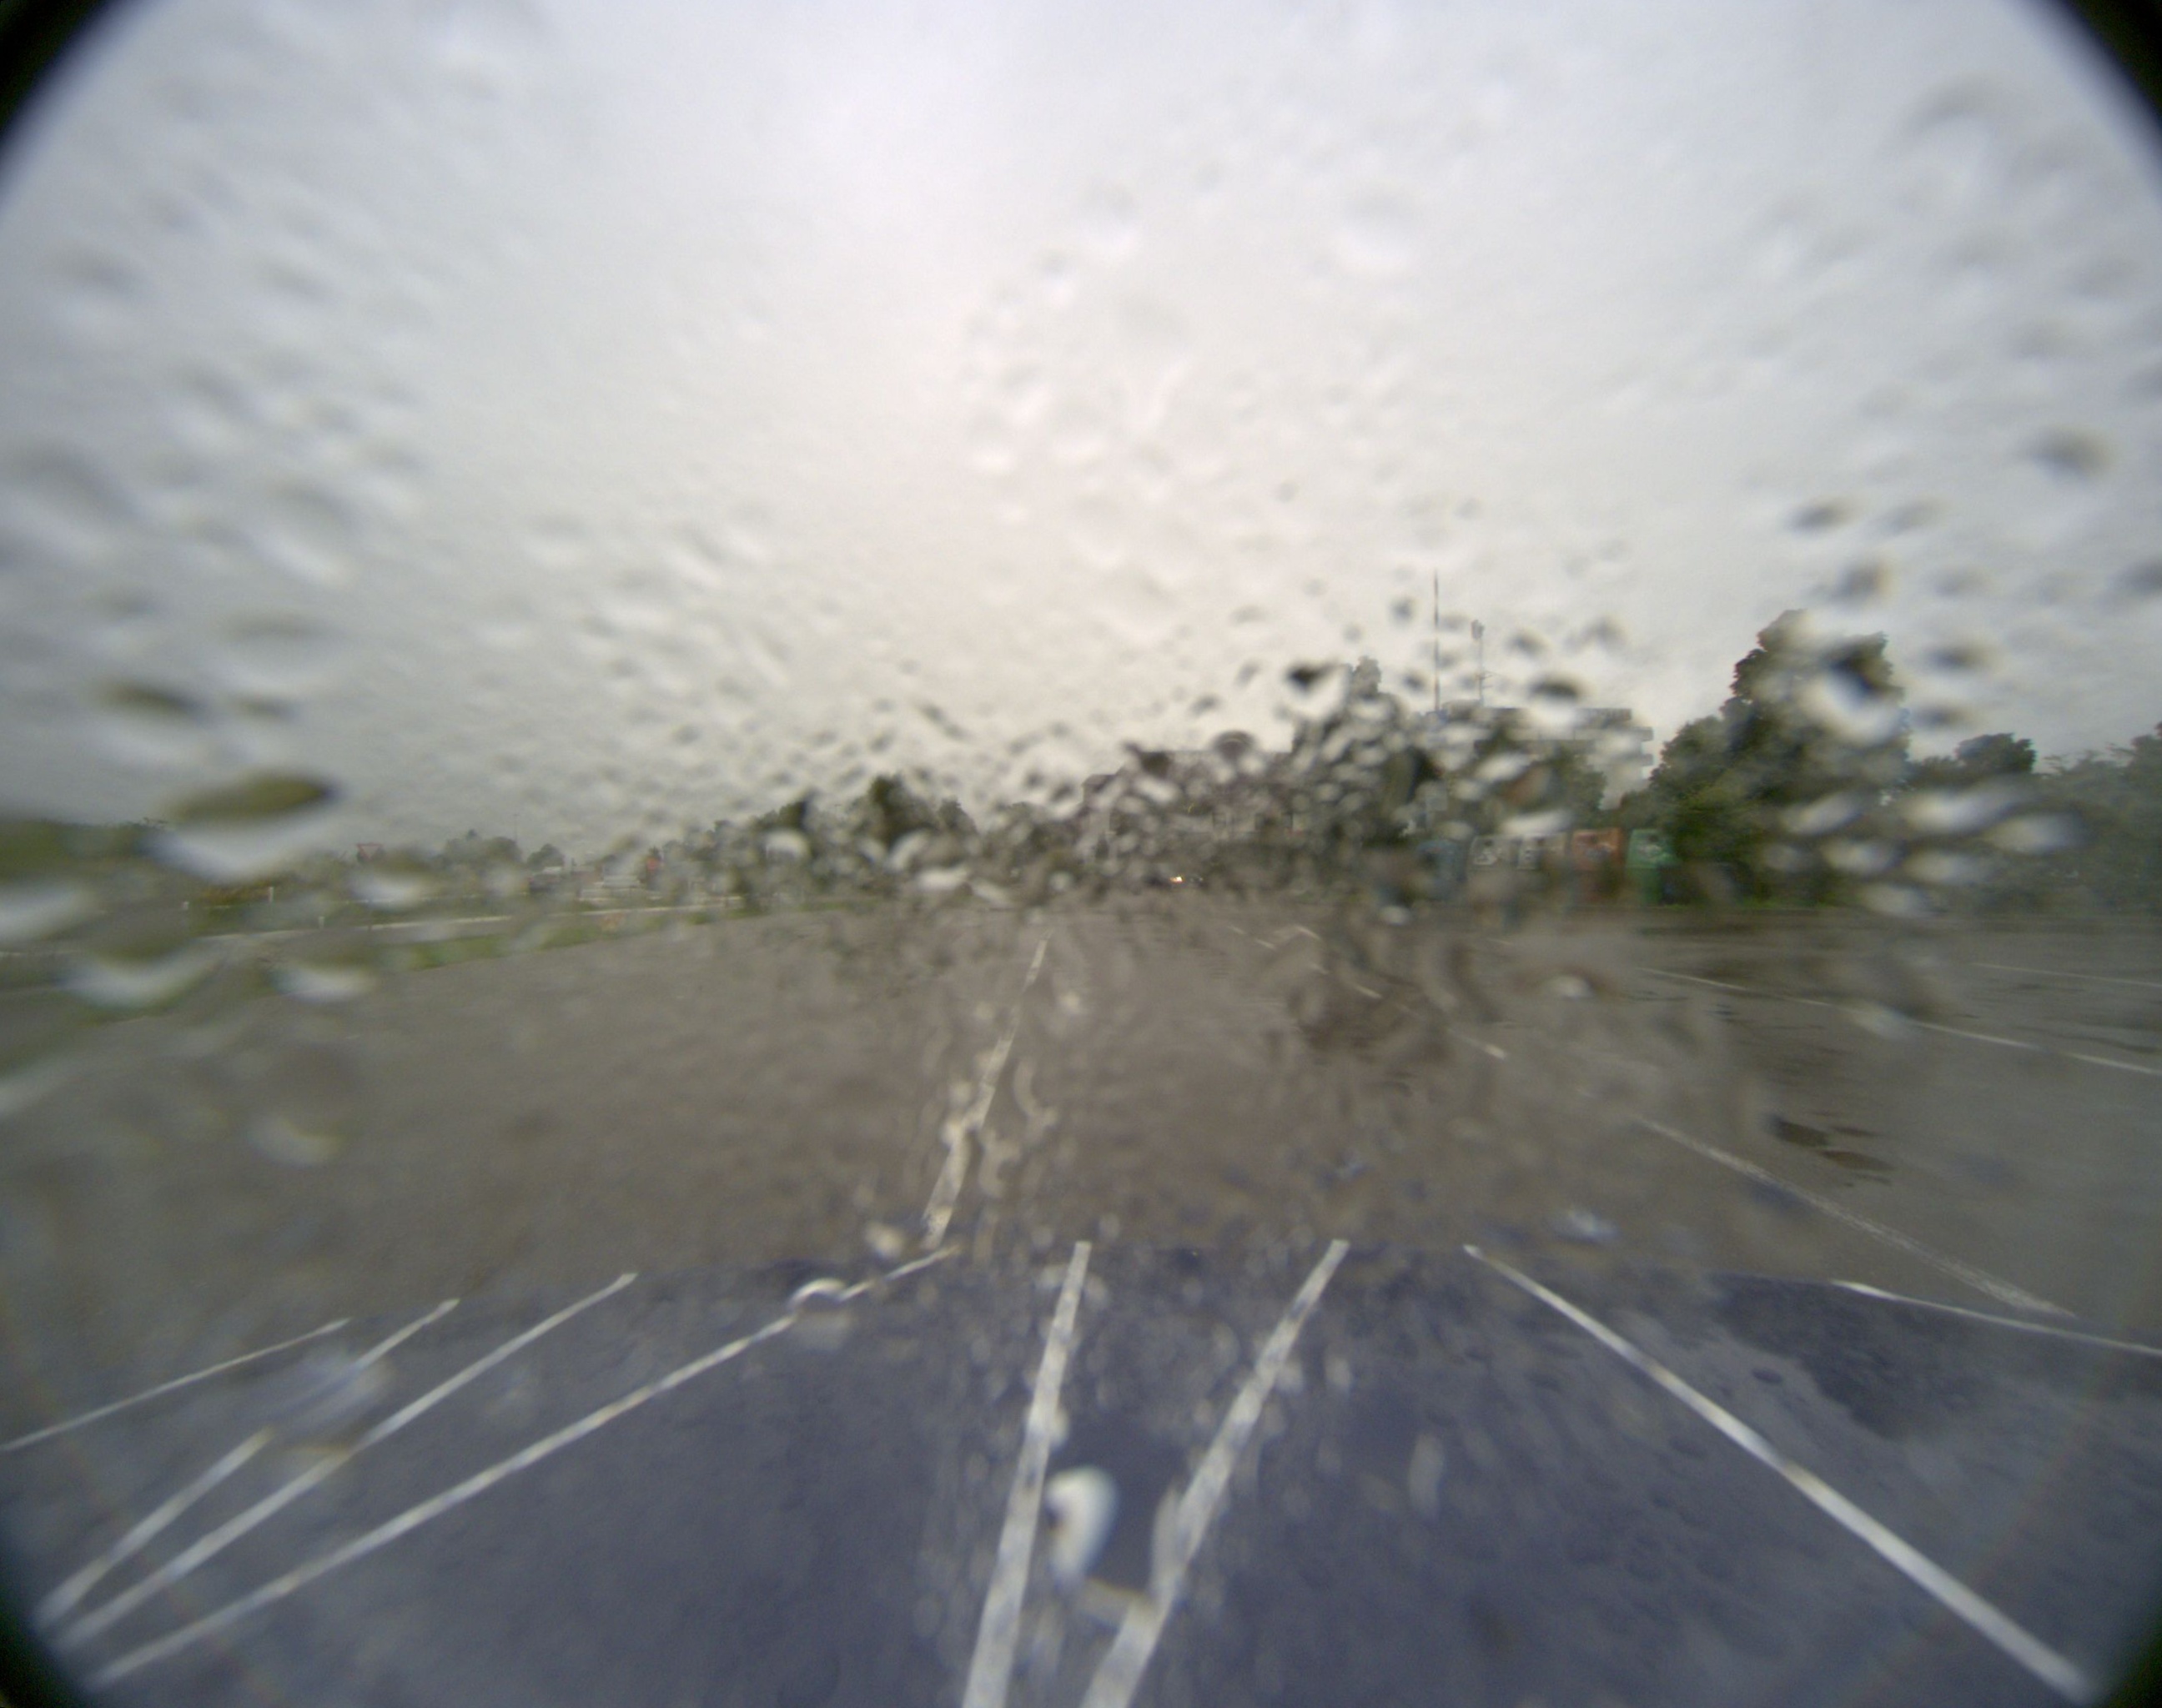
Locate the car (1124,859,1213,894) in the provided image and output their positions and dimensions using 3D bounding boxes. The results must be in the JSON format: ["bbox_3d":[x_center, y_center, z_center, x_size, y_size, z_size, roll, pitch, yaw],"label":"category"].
[{"bbox_3d":[3.822,0.959,33.894,1.782,1.425,4.069,-2,0,-31],"label":"car"}]

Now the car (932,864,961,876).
[{"bbox_3d":[-17.060,2.031,96.419,3.670,1.449,1.589,-2,0,39],"label":"car"}]

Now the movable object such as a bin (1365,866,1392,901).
[{"bbox_3d":[8.248,0.821,21.087,0.450,0.933,0.488,-2,0,-24],"label":"movable object such as a bin"}]

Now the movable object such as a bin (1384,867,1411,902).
[{"bbox_3d":[8.604,0.823,20.661,0.450,0.912,0.488,-2,0,-24],"label":"movable object such as a bin"}]

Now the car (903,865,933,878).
[{"bbox_3d":[-19.797,2.095,92.361,3.670,1.449,1.559,-2,0,39],"label":"car"}]

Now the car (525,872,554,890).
[{"bbox_3d":[-47.959,2.423,67.328,1.519,1.507,3.398,-2,0,-45],"label":"car"}]

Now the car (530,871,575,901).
[{"bbox_3d":[-34.645,2.041,49.865,1.717,1.805,3.708,-2,0,-24],"label":"car"}]

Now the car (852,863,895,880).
[{"bbox_3d":[-20.330,1.737,74.499,3.743,1.542,1.450,-2,0,-5],"label":"car"}]

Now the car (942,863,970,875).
[{"bbox_3d":[-16.294,1.980,98.938,3.670,1.449,1.589,-2,0,39],"label":"car"}]

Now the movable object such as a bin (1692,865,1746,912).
[{"bbox_3d":[12.853,0.681,15.307,0.630,0.915,0.556,-2,0,-13],"label":"movable object such as a bin"}]

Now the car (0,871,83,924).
[{"bbox_3d":[-40.660,1.665,27.940,1.994,1.862,4.654,-2,0,40],"label":"car"}]

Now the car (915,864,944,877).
[{"bbox_3d":[-18.902,2.079,94.713,3.670,1.449,1.589,-2,0,39],"label":"car"}]

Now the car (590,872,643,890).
[{"bbox_3d":[-48.171,2.781,78.827,1.744,1.748,4.374,-2,-1,27],"label":"car"}]

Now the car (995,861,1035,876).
[{"bbox_3d":[-7.060,1.547,81.287,4.188,1.489,1.717,-2,0,-5],"label":"car"}]

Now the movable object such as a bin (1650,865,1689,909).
[{"bbox_3d":[12.433,0.689,16.057,0.495,0.915,0.416,-2,0,-13],"label":"movable object such as a bin"}]
